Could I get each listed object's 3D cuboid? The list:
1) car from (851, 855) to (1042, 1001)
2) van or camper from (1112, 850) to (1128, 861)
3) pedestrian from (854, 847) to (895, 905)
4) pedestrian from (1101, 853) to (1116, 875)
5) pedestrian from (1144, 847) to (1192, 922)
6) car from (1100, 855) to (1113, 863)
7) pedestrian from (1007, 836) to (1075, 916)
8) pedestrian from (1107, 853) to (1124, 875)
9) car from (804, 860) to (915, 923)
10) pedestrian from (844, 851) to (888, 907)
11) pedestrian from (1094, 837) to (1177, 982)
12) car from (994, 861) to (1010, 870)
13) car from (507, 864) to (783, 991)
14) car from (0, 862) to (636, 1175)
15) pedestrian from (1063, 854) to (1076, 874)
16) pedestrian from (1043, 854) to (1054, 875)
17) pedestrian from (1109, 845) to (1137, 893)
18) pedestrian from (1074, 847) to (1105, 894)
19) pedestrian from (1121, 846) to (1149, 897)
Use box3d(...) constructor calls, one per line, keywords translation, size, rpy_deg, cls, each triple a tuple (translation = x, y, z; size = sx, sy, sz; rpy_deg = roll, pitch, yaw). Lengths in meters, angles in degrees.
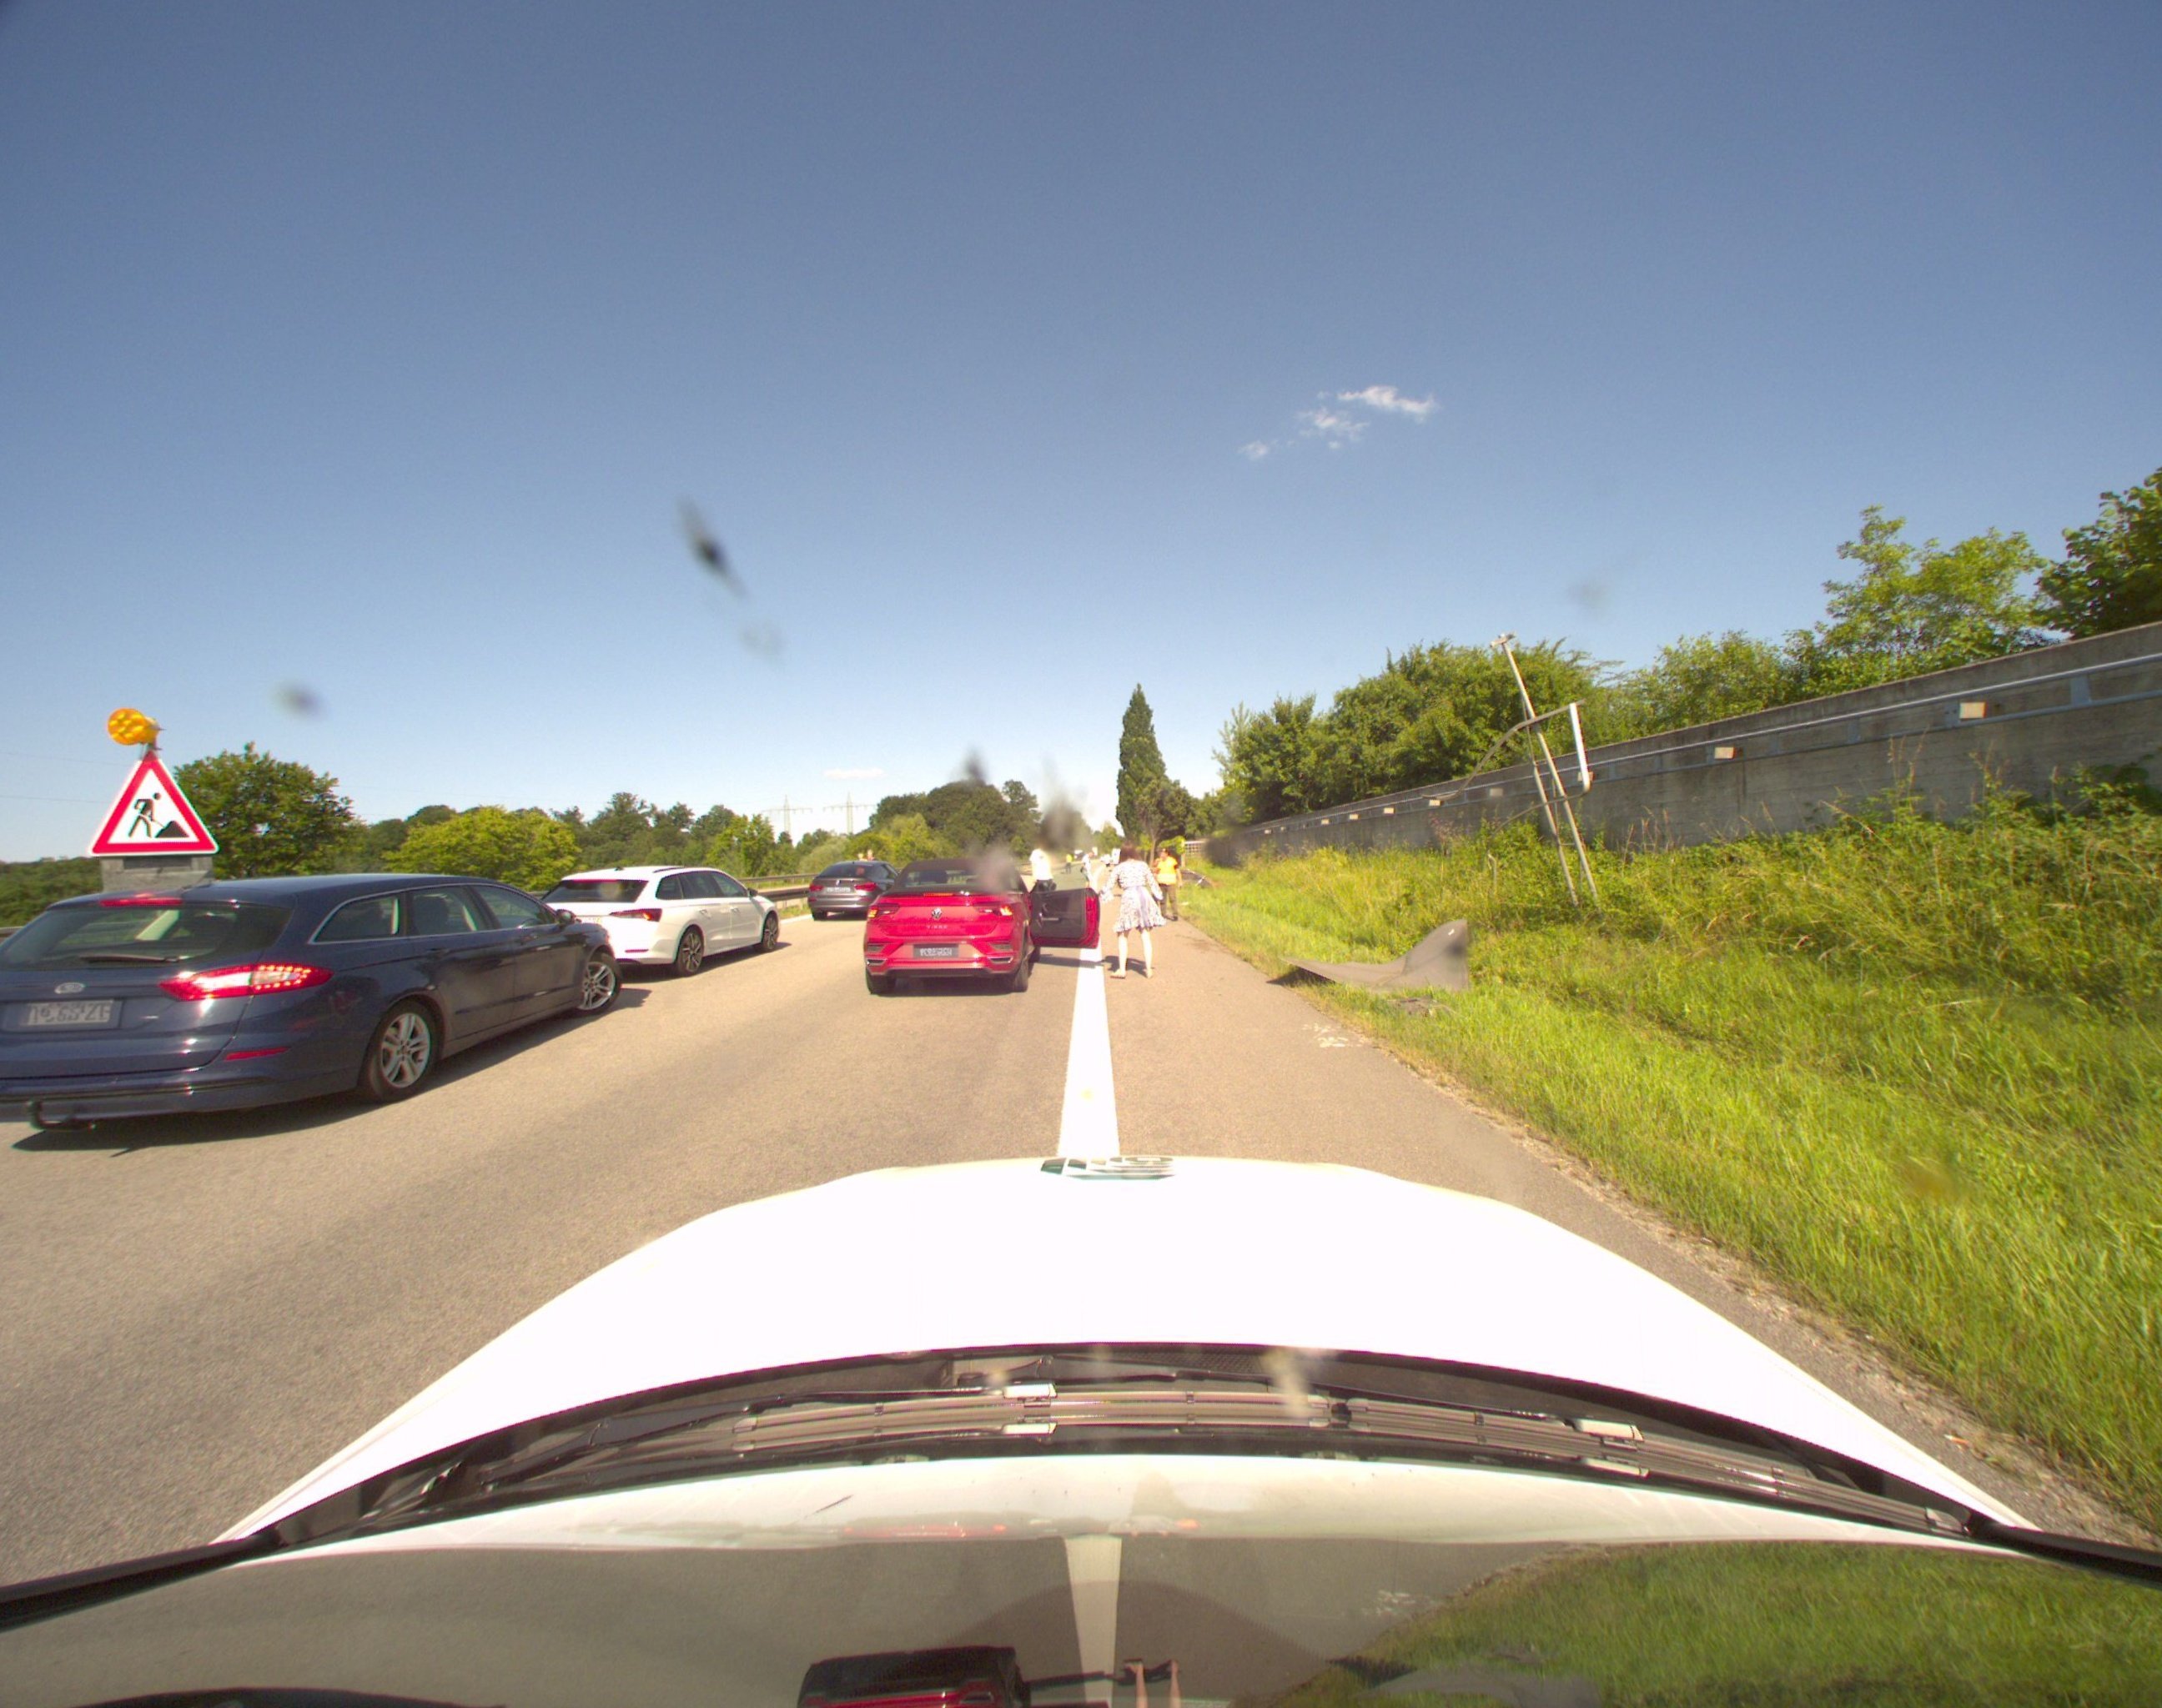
box3d(translation=(-1.503, 0.776, 10.575), size=(1.727, 1.487, 4.210), rpy_deg=(-1, 0, 0), cls="car")
box3d(translation=(7.826, 0.323, 162.623), size=(1.977, 2.316, 4.491), rpy_deg=(-1, -1, 18), cls="van or camper")
box3d(translation=(-7.065, 0.741, 27.879), size=(1.062, 1.883, 1.093), rpy_deg=(-2, 0, 0), cls="pedestrian")
box3d(translation=(2.161, 0.750, 62.987), size=(1.109, 1.689, 0.974), rpy_deg=(-1, -1, 3), cls="pedestrian")
box3d(translation=(2.003, 0.680, 18.982), size=(0.954, 1.653, 1.278), rpy_deg=(-2, 0, 1), cls="pedestrian")
box3d(translation=(5.268, 1.030, 169.368), size=(1.719, 1.487, 4.229), rpy_deg=(-1, 0, 17), cls="car")
box3d(translation=(-0.979, 0.541, 20.297), size=(1.242, 1.912, 1.115), rpy_deg=(-2, 0, 24), cls="pedestrian")
box3d(translation=(2.670, 0.766, 62.709), size=(1.011, 1.689, 0.992), rpy_deg=(0, -1, -22), cls="pedestrian")
box3d(translation=(-5.696, 0.909, 21.501), size=(1.689, 1.426, 4.334), rpy_deg=(-1, 0, 0), cls="car")
box3d(translation=(-7.078, 0.819, 26.902), size=(1.111, 1.763, 1.044), rpy_deg=(-2, 0, -1), cls="pedestrian")
box3d(translation=(0.653, 0.659, 10.242), size=(0.887, 1.695, 1.128), rpy_deg=(-2, 0, -2), cls="pedestrian")
box3d(translation=(-12.239, 1.758, 126.243), size=(1.687, 1.426, 4.308), rpy_deg=(-1, 0, 3), cls="car")
box3d(translation=(-5.950, 0.896, 11.788), size=(1.689, 1.441, 4.210), rpy_deg=(-1, 0, 0), cls="car")
box3d(translation=(-5.350, 0.845, 6.297), size=(1.786, 1.493, 4.481), rpy_deg=(-2, 0, -7), cls="car")
box3d(translation=(-0.976, 0.843, 69.969), size=(1.009, 1.689, 1.061), rpy_deg=(-1, -1, 6), cls="pedestrian")
box3d(translation=(-2.622, 0.829, 66.502), size=(0.788, 1.689, 0.793), rpy_deg=(-1, -1, 5), cls="pedestrian")
box3d(translation=(1.552, 0.546, 29.786), size=(0.818, 1.759, 0.818), rpy_deg=(-1, -1, 19), cls="pedestrian")
box3d(translation=(0.328, 0.640, 31.602), size=(1.083, 1.789, 1.109), rpy_deg=(-1, -1, 5), cls="pedestrian")
box3d(translation=(1.846, 0.612, 28.081), size=(0.892, 1.725, 0.754), rpy_deg=(-1, -1, -2), cls="pedestrian")
